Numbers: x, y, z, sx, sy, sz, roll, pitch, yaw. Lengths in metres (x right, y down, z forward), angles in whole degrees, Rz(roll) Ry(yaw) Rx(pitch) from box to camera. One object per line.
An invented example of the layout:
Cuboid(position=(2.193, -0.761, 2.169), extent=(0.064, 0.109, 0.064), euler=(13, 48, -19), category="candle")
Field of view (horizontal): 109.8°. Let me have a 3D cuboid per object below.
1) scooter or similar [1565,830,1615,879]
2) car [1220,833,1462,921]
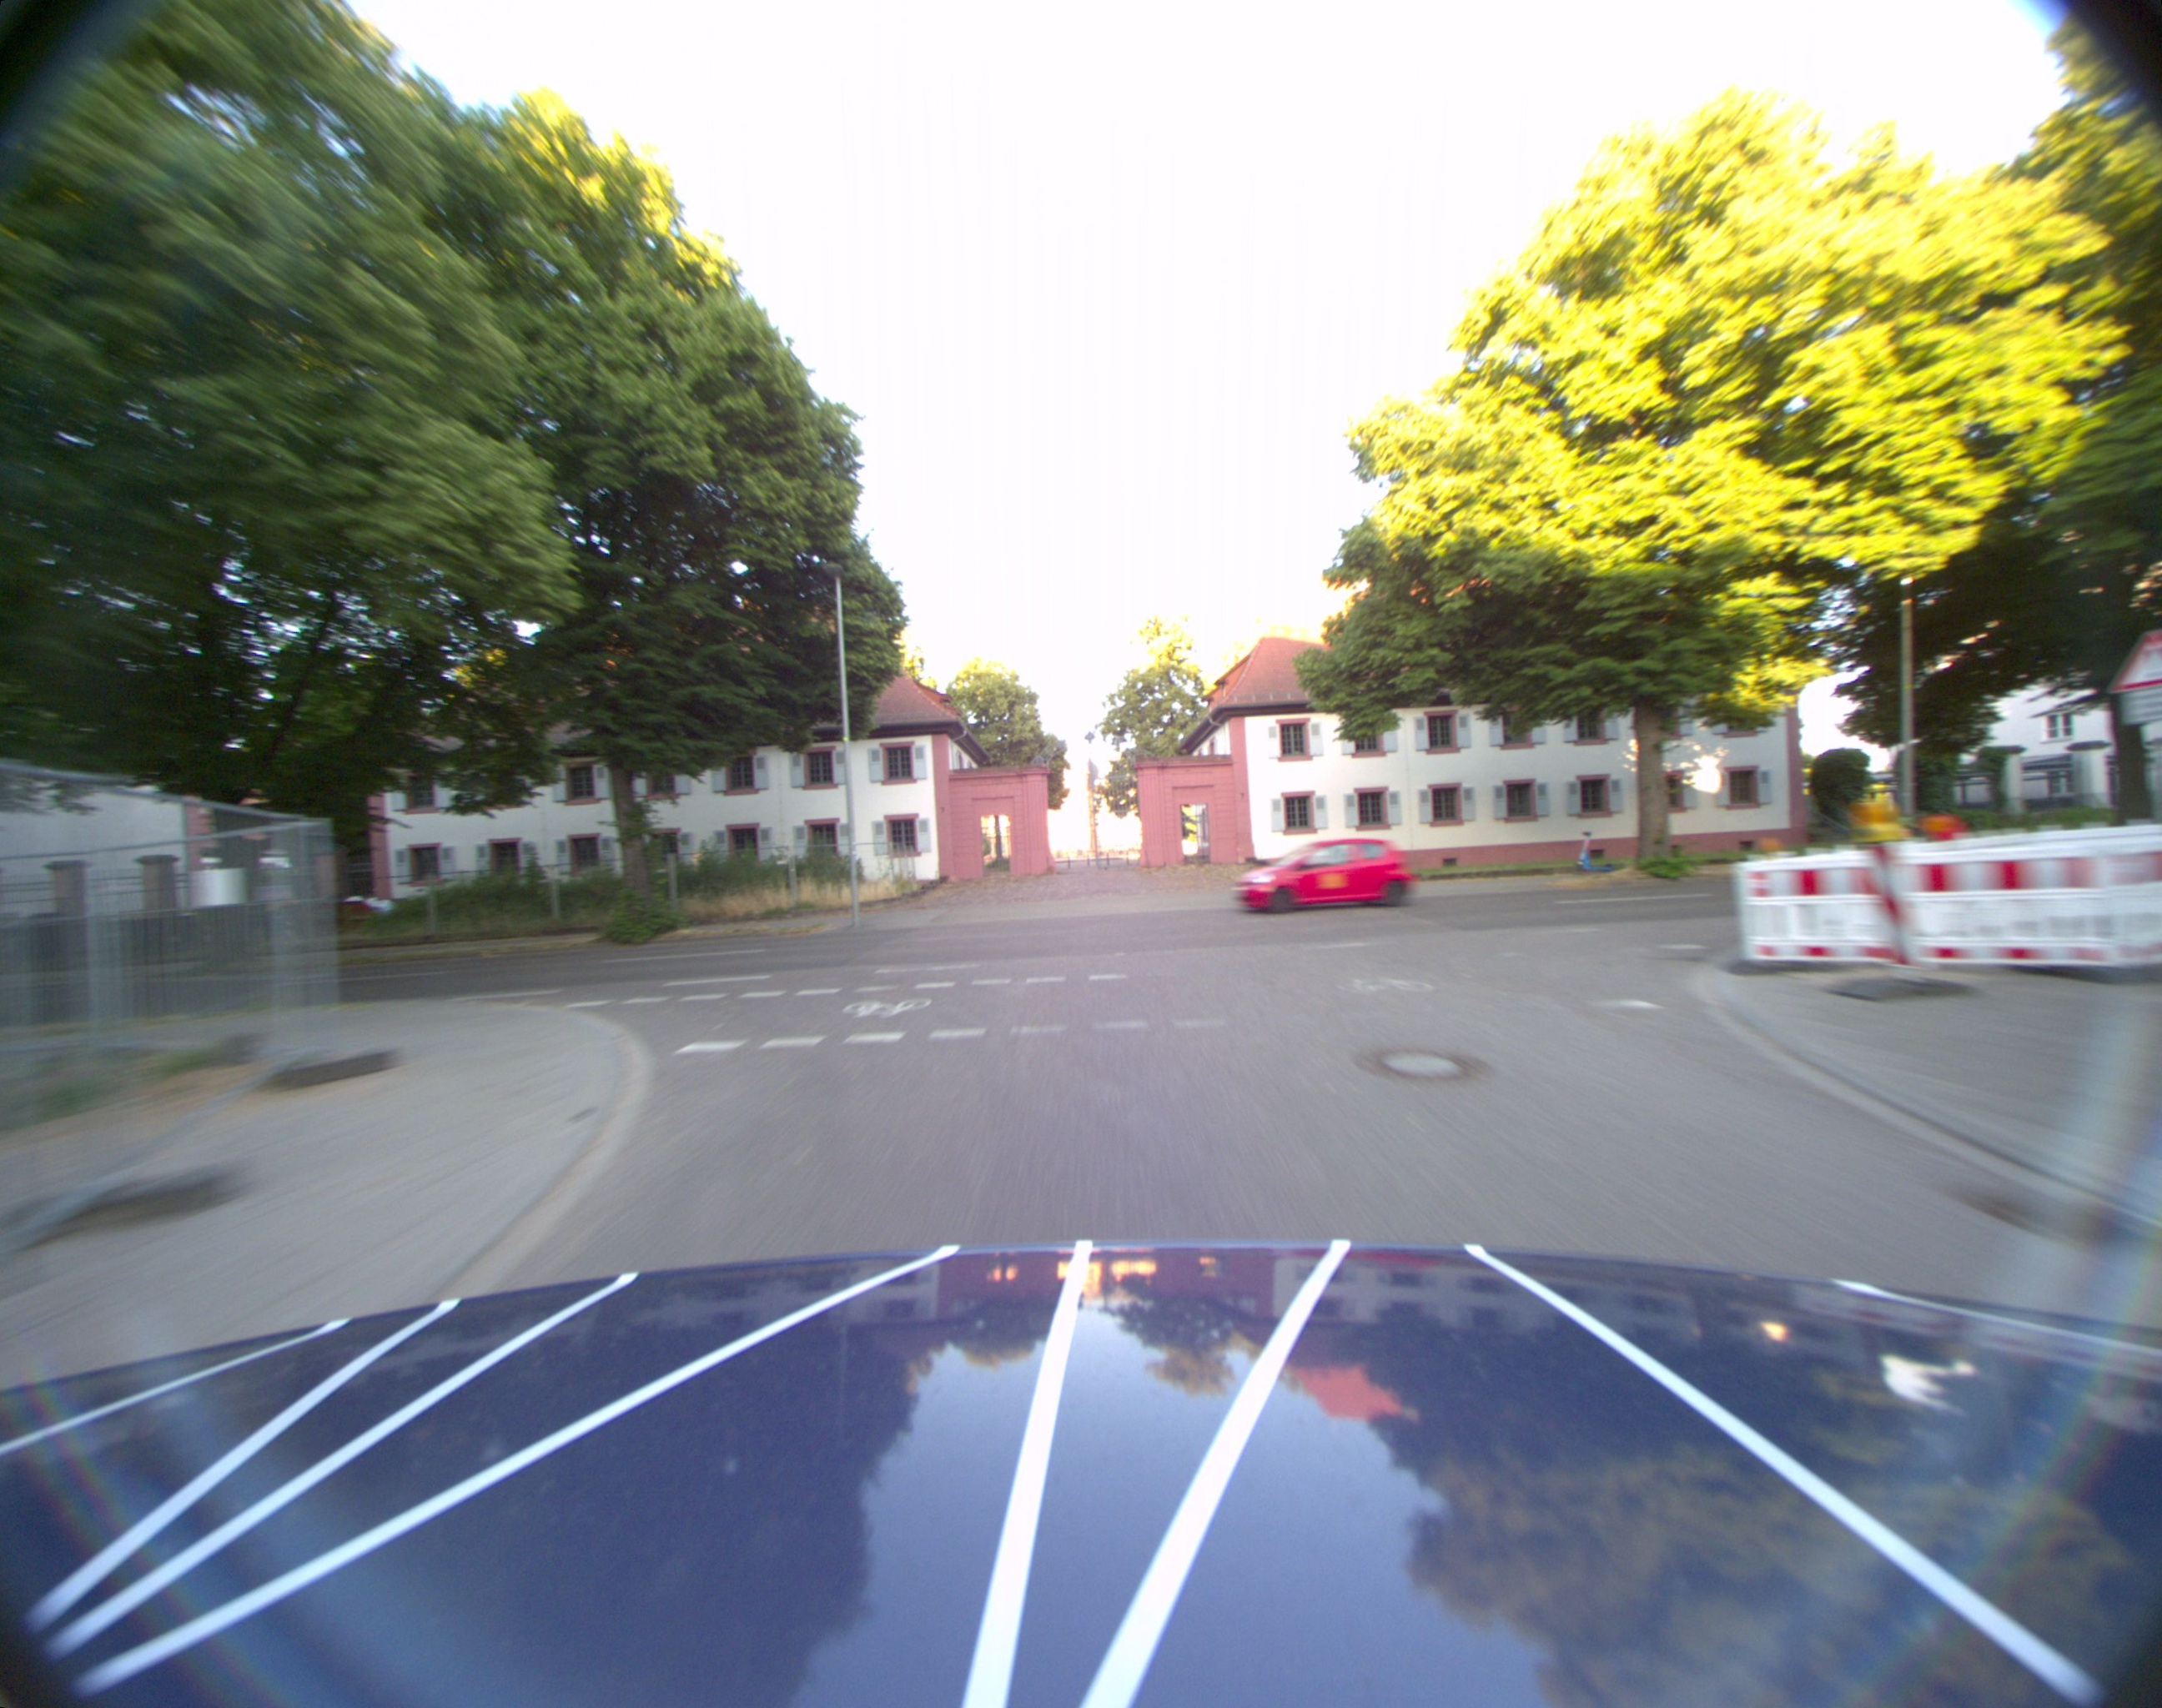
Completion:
Cuboid(position=(14.304, 0.011, 21.357), extent=(1.266, 1.269, 0.240), euler=(-4, 1, -5), category="scooter or similar")
Cuboid(position=(5.299, 0.461, 15.837), extent=(4.408, 1.404, 1.620), euler=(-4, 0, -2), category="car")
